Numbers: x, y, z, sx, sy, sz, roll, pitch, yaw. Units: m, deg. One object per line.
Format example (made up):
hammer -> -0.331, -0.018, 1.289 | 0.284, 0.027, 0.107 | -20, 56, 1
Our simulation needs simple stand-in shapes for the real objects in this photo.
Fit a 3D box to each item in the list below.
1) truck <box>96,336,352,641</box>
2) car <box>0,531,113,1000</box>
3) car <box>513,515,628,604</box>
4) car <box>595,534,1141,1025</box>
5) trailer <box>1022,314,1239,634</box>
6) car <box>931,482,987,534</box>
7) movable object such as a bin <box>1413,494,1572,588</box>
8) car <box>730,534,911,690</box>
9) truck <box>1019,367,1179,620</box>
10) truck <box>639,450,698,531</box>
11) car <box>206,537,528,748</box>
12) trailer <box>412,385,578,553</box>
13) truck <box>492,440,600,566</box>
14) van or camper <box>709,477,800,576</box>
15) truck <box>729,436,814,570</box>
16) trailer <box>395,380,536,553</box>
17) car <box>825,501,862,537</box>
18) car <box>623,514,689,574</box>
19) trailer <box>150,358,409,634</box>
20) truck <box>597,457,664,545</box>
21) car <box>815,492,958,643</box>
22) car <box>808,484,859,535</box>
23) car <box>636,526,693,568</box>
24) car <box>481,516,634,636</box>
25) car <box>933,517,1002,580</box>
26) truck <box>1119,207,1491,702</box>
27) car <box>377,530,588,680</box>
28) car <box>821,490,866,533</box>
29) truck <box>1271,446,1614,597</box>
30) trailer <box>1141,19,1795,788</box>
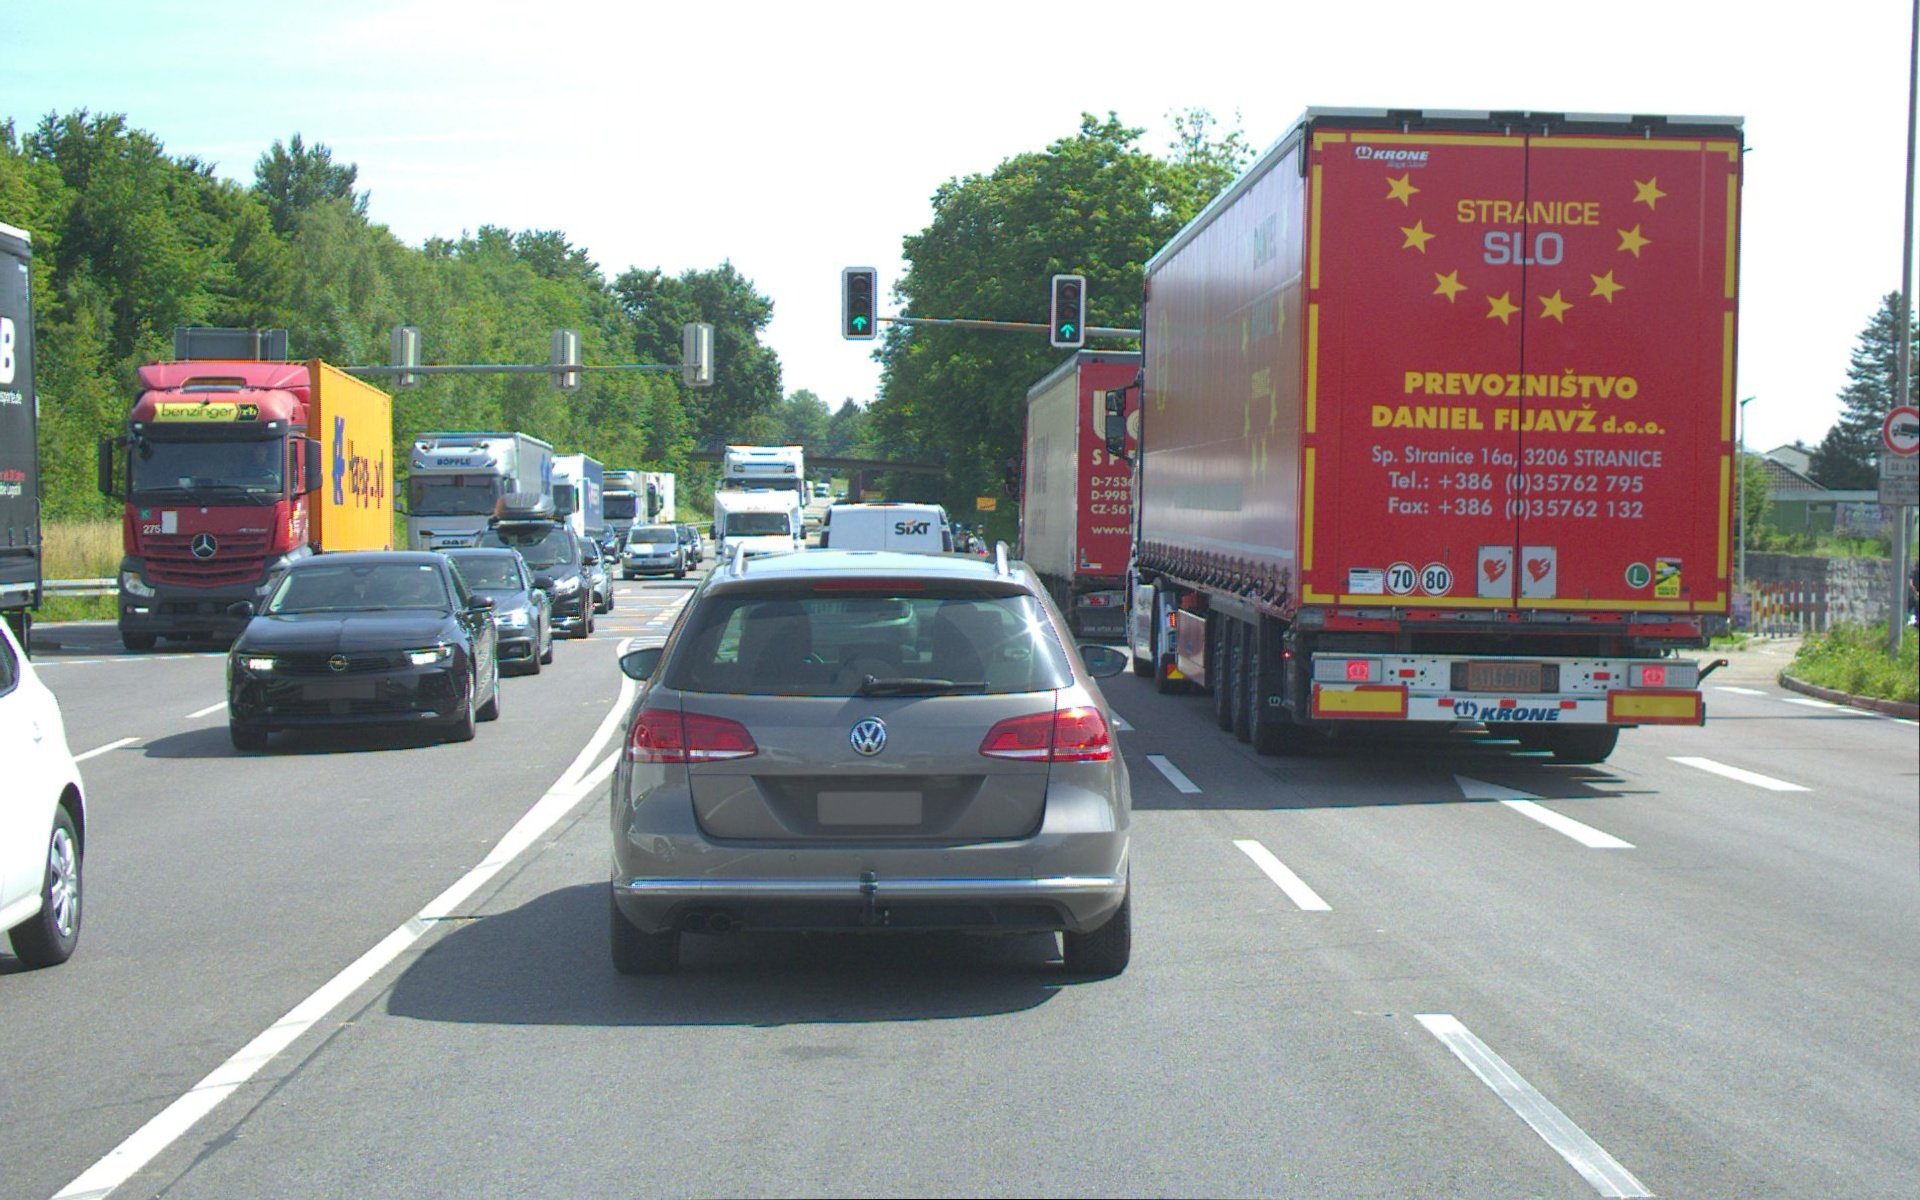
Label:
truck -> -10.180, -1.527, 48.091 | 2.720, 3.984, 6.058 | 0, 1, -5
car -> -4.015, 0.579, 11.117 | 1.653, 1.550, 4.001 | -2, 1, -2
car -> -7.523, -0.819, 66.703 | 1.921, 1.596, 4.589 | -1, 2, -3
car -> -0.397, 0.516, 12.681 | 1.691, 1.508, 4.001 | 0, 1, -3
trailer -> 2.377, -1.803, 52.048 | 2.395, 4.228, 13.079 | 0, 1, -1
car -> -0.047, -3.585, 134.592 | 1.993, 2.007, 4.001 | 0, 1, -3
movable object such as a bin -> 18.676, -2.093, 120.234 | 2.897, 3.197, 6.692 | 1, 1, 35
car -> -1.479, 0.077, 35.685 | 1.770, 1.508, 4.001 | 0, 1, -3
truck -> 2.316, -1.795, 58.867 | 2.406, 4.113, 5.522 | 0, 1, -1
truck -> -15.181, -5.666, 179.415 | 2.829, 4.102, 9.684 | 0, 1, -4
car -> -4.518, 0.267, 26.775 | 1.711, 1.438, 4.379 | -2, 1, 0
trailer -> -12.221, -3.376, 91.549 | 2.691, 4.133, 13.881 | 0, 1, -1
truck -> -13.758, -3.211, 114.682 | 3.187, 4.065, 6.347 | 0, 1, -3
van or camper -> -5.579, -2.008, 94.071 | 2.330, 2.591, 6.980 | 0, 1, -2
truck -> -5.943, -3.015, 107.773 | 2.536, 4.073, 6.267 | 0, 1, -4
trailer -> -12.138, -3.240, 84.827 | 2.645, 4.091, 6.181 | 0, 1, -1
car -> -6.592, -4.577, 193.865 | 1.993, 2.007, 4.001 | 0, 1, -3
car -> -9.411, -1.752, 106.751 | 1.843, 1.726, 4.589 | 2, 2, -3
trailer -> -10.800, -1.632, 55.745 | 2.720, 3.984, 12.237 | 0, 1, -5
truck -> -15.399, -4.612, 161.363 | 2.728, 3.985, 9.621 | 0, 1, -3
car -> -1.025, -0.462, 46.258 | 1.770, 1.930, 3.978 | 0, 1, -3
car -> -5.092, -3.637, 137.858 | 1.993, 2.007, 4.001 | 0, 1, -3
car -> -10.633, -1.929, 123.418 | 1.993, 1.480, 4.455 | 0, 1, -5
car -> -5.864, -0.395, 50.519 | 1.908, 1.596, 4.589 | -2, 2, -3
car -> 0.222, -1.672, 111.376 | 1.993, 2.007, 4.001 | 0, 1, -3
truck -> 3.172, -1.340, 33.222 | 2.870, 4.266, 5.839 | 2, 1, 0
car -> -5.340, 0.005, 38.957 | 1.861, 1.518, 4.589 | -1, 2, -2
car -> -5.470, -4.128, 160.712 | 1.993, 2.007, 4.001 | 0, 1, -3
truck -> 14.389, -2.306, 102.432 | 9.667, 3.616, 2.768 | 5, 0, -19
trailer -> 3.278, -1.266, 26.444 | 2.839, 4.350, 13.168 | 2, 1, 0
